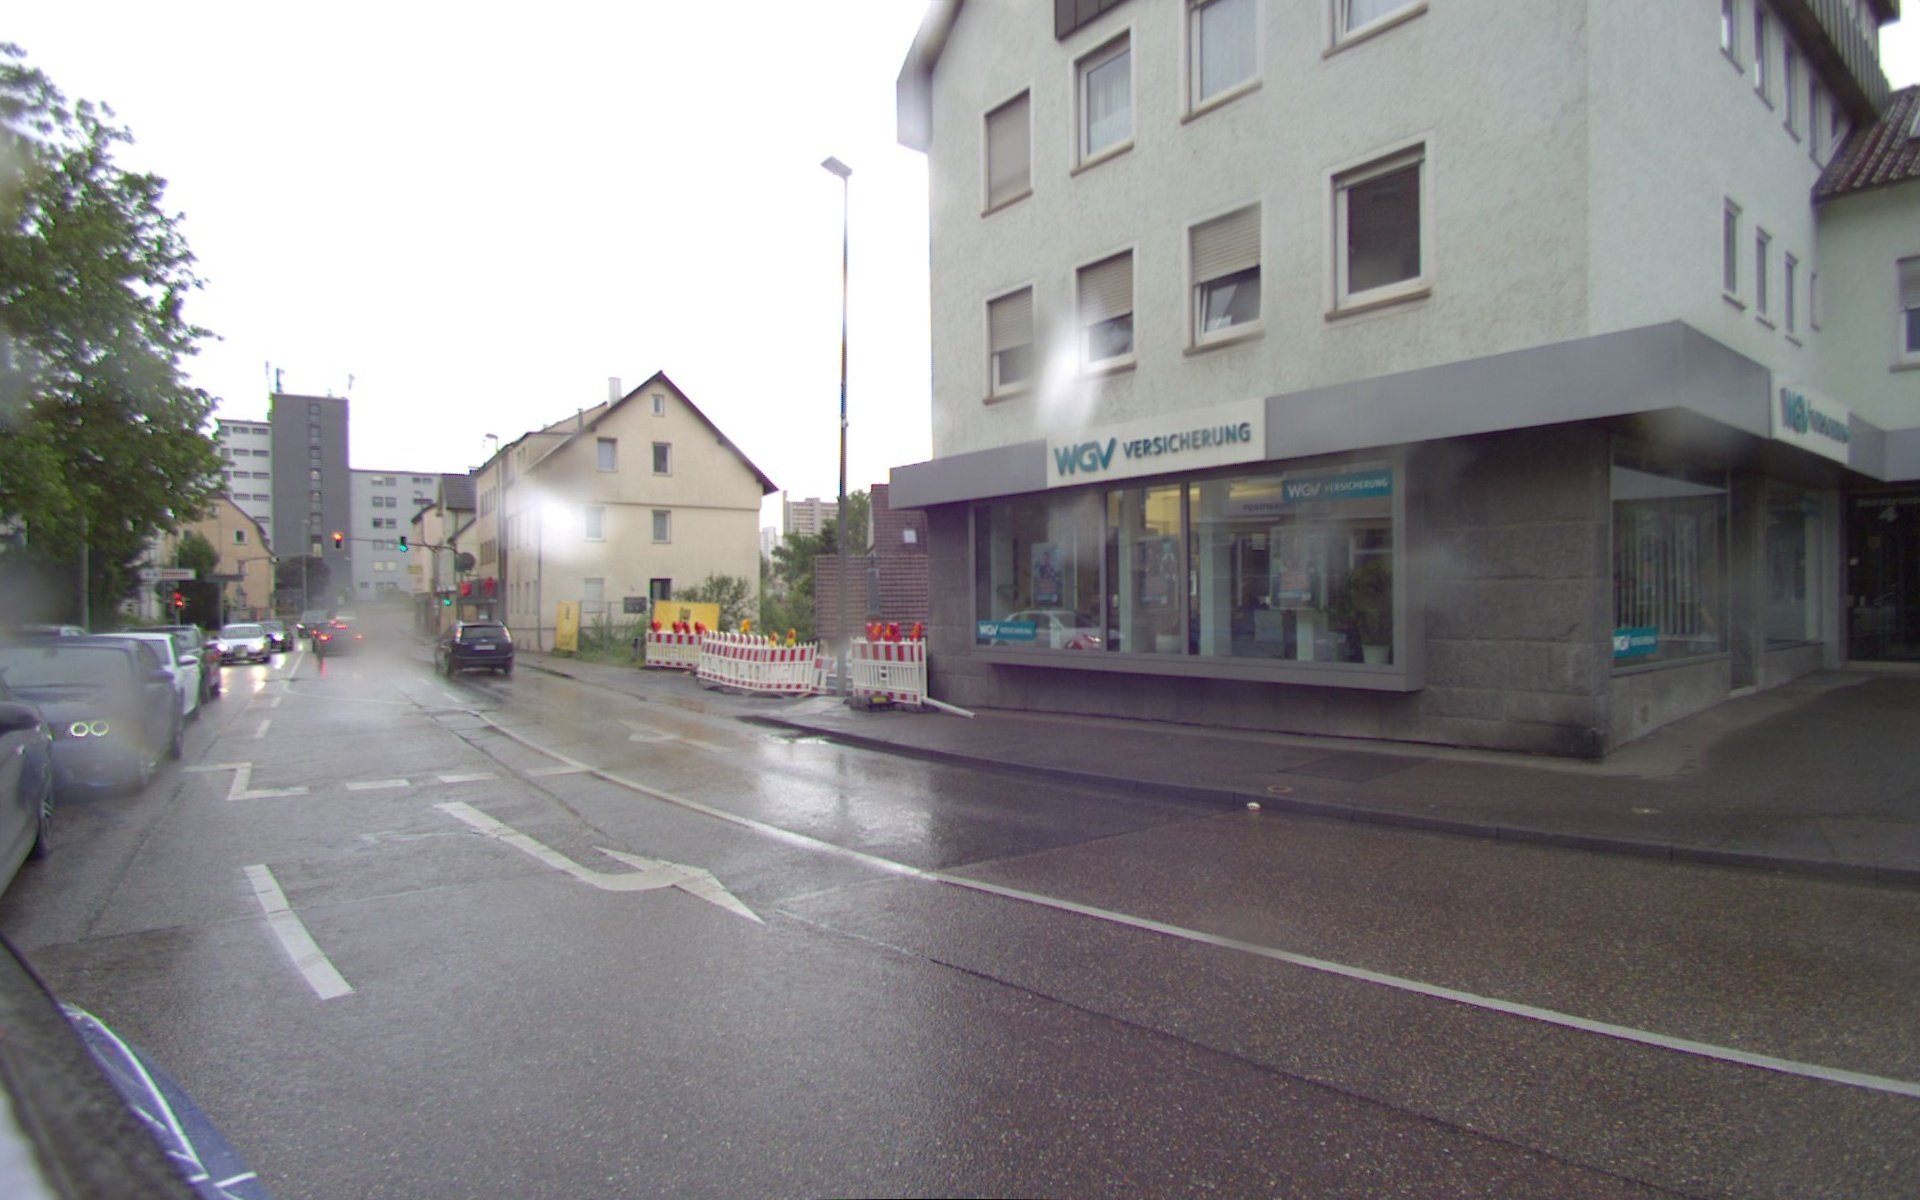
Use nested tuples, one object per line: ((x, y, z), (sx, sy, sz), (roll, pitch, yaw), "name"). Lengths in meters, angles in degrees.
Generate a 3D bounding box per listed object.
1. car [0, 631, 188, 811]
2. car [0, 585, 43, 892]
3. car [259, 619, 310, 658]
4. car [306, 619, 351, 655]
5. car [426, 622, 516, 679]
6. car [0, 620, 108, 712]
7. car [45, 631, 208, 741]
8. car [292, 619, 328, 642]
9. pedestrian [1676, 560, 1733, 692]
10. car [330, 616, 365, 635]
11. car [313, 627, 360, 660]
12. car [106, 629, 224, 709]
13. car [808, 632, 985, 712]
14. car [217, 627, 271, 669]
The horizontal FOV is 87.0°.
((-8.729, 1.032, 9.845), (1.615, 1.443, 3.816), (1, -2, -33), "car")
((-5.679, 0.722, 4.687), (1.792, 1.583, 4.284), (-1, -1, -38), "car")
((-35.012, 1.960, 52.541), (1.763, 1.866, 3.847), (-1, -1, -28), "car")
((-32.016, 1.869, 51.232), (1.791, 1.657, 4.287), (-1, -1, -34), "car")
((-14.279, 1.442, 29.423), (1.709, 1.522, 4.284), (1, -3, -34), "car")
((-20.069, 1.350, 21.734), (1.904, 1.794, 4.748), (0, -2, -30), "car")
((-12.886, 1.235, 15.855), (1.660, 1.432, 4.010), (-1, -1, -35), "car")
((-47.700, 2.203, 74.351), (1.763, 1.577, 3.848), (-1, -1, -26), "car")
((8.746, 0.303, 11.896), (0.352, 1.519, 0.426), (-2, -1, -41), "pedestrian")
((-56.005, 2.312, 92.639), (1.711, 1.577, 3.846), (-1, -1, -15), "car")
((-28.297, 1.936, 45.904), (1.684, 1.394, 3.679), (-1, -1, -33), "car")
((-16.868, 1.394, 21.635), (1.659, 1.472, 4.010), (-1, -1, -34), "car")
((-1.318, 1.584, 21.740), (3.456, 1.401, 1.653), (10, -10, -41), "car")
((-28.025, 1.840, 39.572), (1.590, 1.515, 3.726), (-2, 0, -37), "car")
